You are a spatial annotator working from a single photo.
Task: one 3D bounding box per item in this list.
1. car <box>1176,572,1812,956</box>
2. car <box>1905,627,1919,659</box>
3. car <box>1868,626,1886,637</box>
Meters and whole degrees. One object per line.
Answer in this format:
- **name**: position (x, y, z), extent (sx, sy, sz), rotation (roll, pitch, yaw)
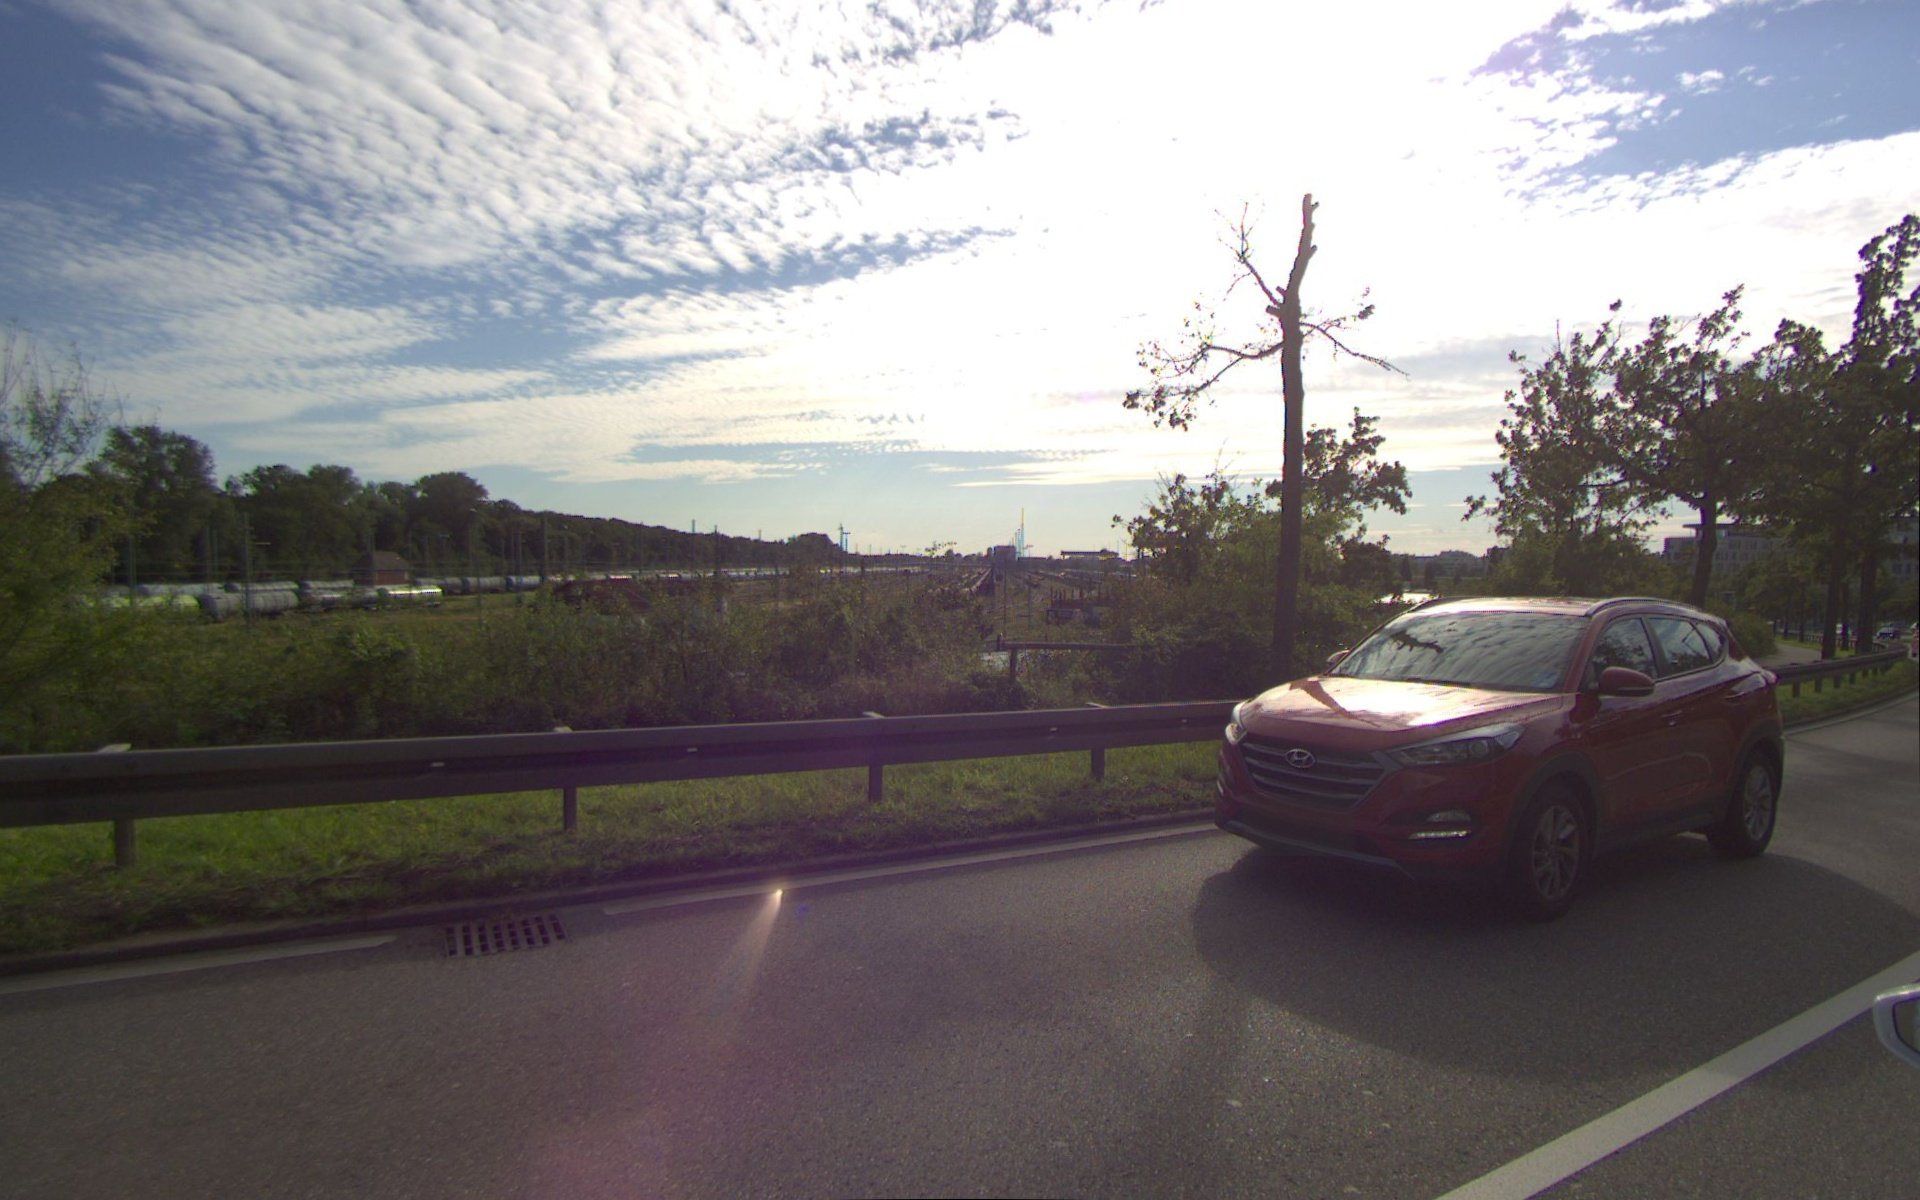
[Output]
- **car**: position (3.544, 0.762, 6.394), extent (4.253, 1.697, 1.798), rotation (2, 0, -34)
- **car**: position (45.338, 2.019, 46.817), extent (1.548, 1.444, 3.575), rotation (1, 0, 38)
- **car**: position (122.364, 4.228, 134.028), extent (3.567, 1.444, 1.552), rotation (1, 0, -44)
